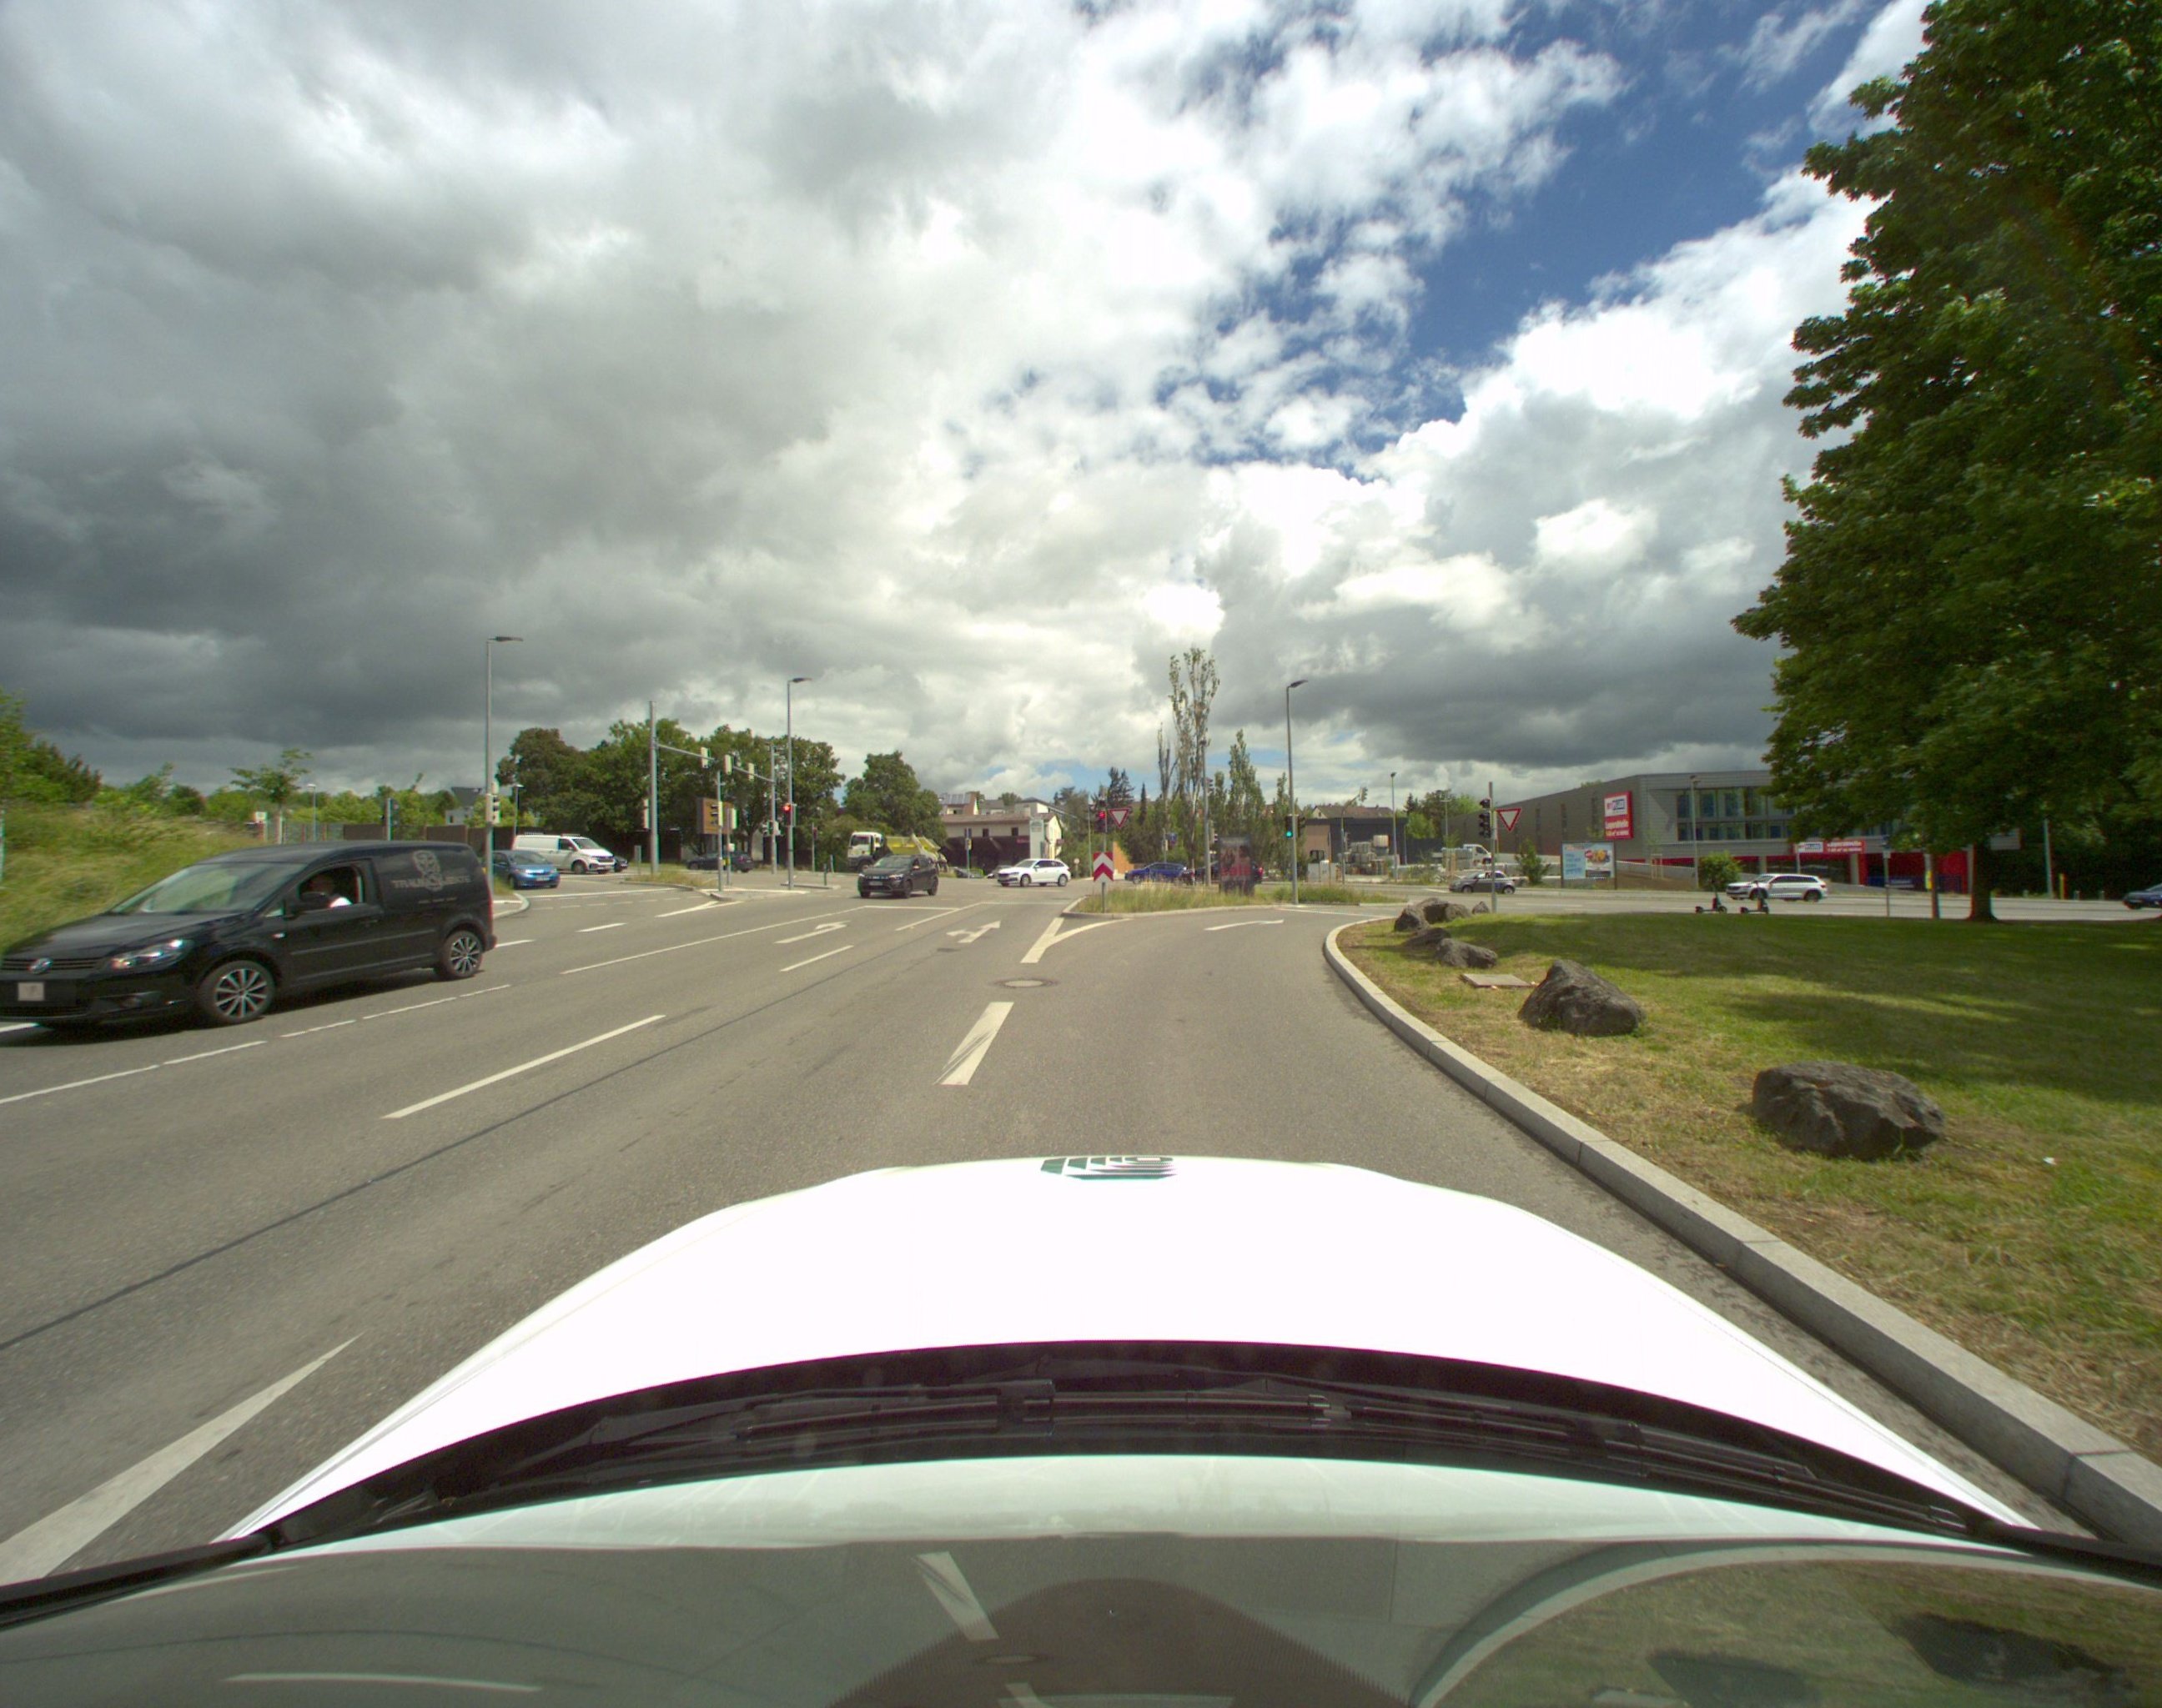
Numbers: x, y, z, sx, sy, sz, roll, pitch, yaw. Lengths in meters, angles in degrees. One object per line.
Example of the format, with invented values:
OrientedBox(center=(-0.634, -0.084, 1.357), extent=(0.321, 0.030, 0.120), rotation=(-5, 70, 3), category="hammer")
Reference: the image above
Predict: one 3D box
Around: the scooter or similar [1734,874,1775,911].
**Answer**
OrientedBox(center=(23.170, 1.326, 28.018), extent=(1.189, 1.264, 0.531), rotation=(1, -3, -18), category="scooter or similar")

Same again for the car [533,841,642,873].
OrientedBox(center=(-27.706, 0.165, 45.787), extent=(4.935, 1.635, 1.912), rotation=(2, 0, 2), category="car")

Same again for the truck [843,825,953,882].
OrientedBox(center=(-12.969, -0.014, 57.973), extent=(6.912, 3.579, 2.850), rotation=(-4, -1, 4), category="truck")

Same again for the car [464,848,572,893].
OrientedBox(center=(-22.765, 0.634, 32.905), extent=(4.391, 1.637, 1.923), rotation=(2, 0, 31), category="car")

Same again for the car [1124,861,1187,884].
OrientedBox(center=(4.813, 1.181, 52.726), extent=(3.968, 1.400, 1.699), rotation=(1, -1, 4), category="car")

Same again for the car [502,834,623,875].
OrientedBox(center=(-26.550, 0.036, 41.813), extent=(4.935, 1.937, 1.912), rotation=(2, 0, 2), category="car")

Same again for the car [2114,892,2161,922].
OrientedBox(center=(59.477, 2.912, 44.130), extent=(4.360, 1.511, 1.814), rotation=(0, 0, 7), category="car")

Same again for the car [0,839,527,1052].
OrientedBox(center=(-8.907, 0.737, 9.270), extent=(1.778, 1.778, 4.813), rotation=(-1, 1, 2), category="car")

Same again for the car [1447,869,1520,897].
OrientedBox(center=(23.520, 1.713, 47.719), extent=(3.491, 1.460, 1.589), rotation=(-2, 0, 9), category="car")

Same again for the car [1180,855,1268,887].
OrientedBox(center=(8.454, 0.997, 48.598), extent=(4.946, 1.689, 1.912), rotation=(2, 0, 2), category="car")

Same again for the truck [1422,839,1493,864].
OrientedBox(center=(39.209, -0.254, 85.079), extent=(6.503, 2.145, 2.010), rotation=(-4, -1, 20), category="truck")

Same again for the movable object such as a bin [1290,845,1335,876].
OrientedBox(center=(19.999, 0.572, 70.306), extent=(3.373, 2.538, 2.164), rotation=(1, -1, 23), category="movable object such as a bin")

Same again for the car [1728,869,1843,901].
OrientedBox(center=(39.634, 1.738, 45.915), extent=(4.862, 1.658, 1.736), rotation=(0, 0, 4), category="car")

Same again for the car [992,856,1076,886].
OrientedBox(center=(-2.423, 0.908, 42.939), extent=(4.403, 1.469, 1.602), rotation=(1, 0, -45), category="car")

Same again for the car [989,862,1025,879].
OrientedBox(center=(-6.694, 1.483, 73.051), extent=(1.702, 1.400, 3.962), rotation=(1, -1, -30), category="car")

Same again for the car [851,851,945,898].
OrientedBox(center=(-6.610, 0.704, 29.865), extent=(1.773, 1.578, 4.178), rotation=(1, 0, 12), category="car")

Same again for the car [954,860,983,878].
OrientedBox(center=(-11.287, 1.469, 81.704), extent=(1.744, 1.651, 3.821), rotation=(1, 0, -27), category="car")

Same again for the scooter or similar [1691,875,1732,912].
OrientedBox(center=(21.787, 1.372, 28.149), extent=(1.189, 1.264, 0.531), rotation=(1, -3, -18), category="scooter or similar")

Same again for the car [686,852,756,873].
OrientedBox(center=(-24.327, 0.576, 55.102), extent=(3.968, 1.400, 1.699), rotation=(1, -1, 5), category="car")
